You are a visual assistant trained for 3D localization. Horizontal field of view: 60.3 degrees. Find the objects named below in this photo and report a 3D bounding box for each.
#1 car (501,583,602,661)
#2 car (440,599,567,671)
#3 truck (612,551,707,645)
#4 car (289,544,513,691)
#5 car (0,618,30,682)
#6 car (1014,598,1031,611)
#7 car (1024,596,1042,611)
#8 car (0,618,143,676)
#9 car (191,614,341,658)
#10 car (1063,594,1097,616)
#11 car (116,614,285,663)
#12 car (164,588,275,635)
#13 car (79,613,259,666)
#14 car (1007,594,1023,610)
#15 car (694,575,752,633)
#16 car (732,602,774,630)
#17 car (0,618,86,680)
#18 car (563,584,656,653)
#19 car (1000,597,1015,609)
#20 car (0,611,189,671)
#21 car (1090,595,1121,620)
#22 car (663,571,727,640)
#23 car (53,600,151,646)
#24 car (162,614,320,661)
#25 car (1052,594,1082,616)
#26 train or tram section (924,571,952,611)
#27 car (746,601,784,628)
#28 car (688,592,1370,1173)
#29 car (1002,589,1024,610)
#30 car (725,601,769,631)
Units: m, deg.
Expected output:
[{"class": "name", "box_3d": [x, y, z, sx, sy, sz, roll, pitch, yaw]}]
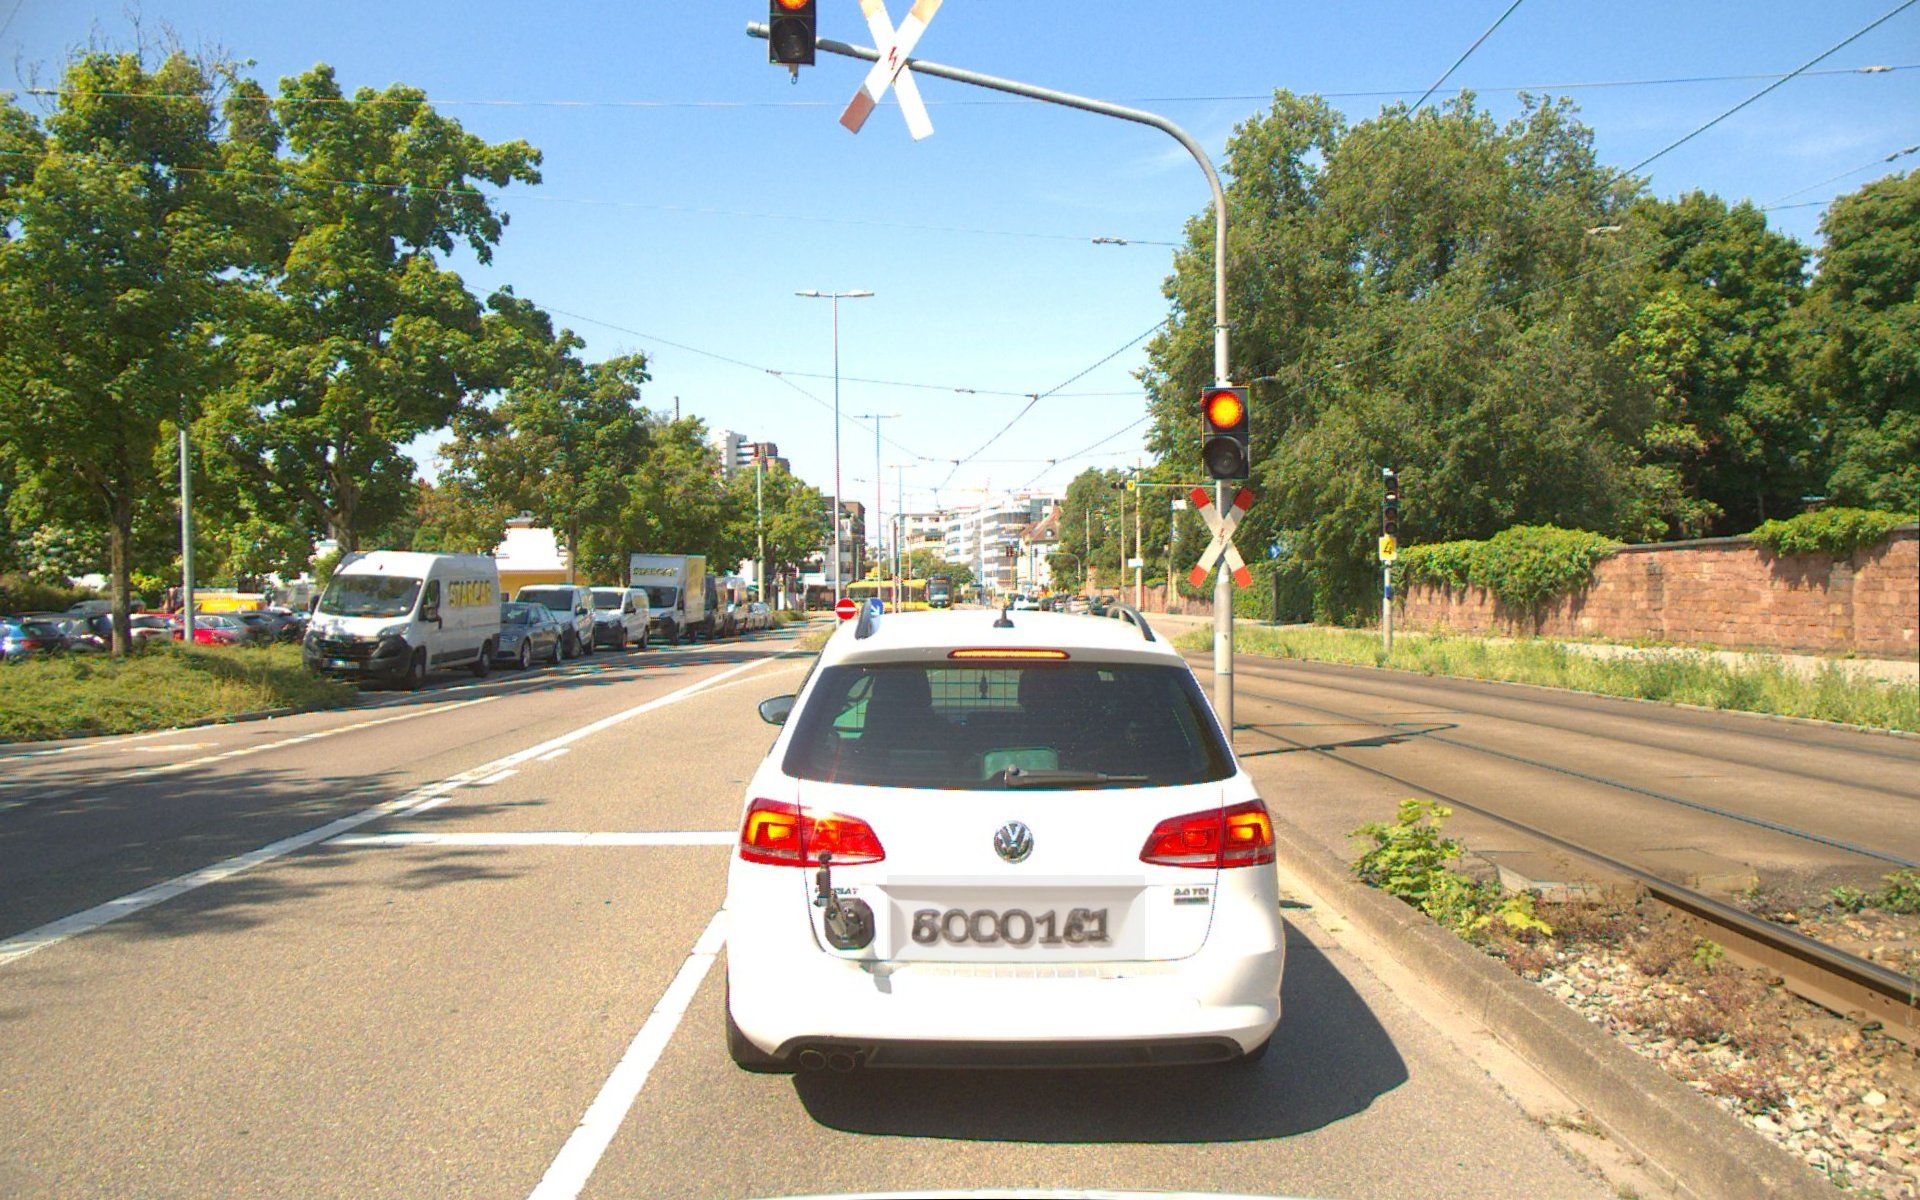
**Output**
[{"class": "car", "box_3d": [-11.062, 0.548, 45.115, 1.807, 1.971, 5.189, -1, 0, -5]}, {"class": "car", "box_3d": [-10.556, 0.772, 38.550, 1.806, 1.543, 4.196, -1, 0, -1]}, {"class": "truck", "box_3d": [-10.828, -0.101, 60.199, 2.309, 3.177, 6.889, -1, 0, -2]}, {"class": "car", "box_3d": [-10.729, 0.284, 32.378, 2.016, 2.544, 6.309, 2, 0, 2]}, {"class": "car", "box_3d": [-20.961, 1.043, 32.849, 3.907, 1.246, 1.770, -1, 0, -3]}, {"class": "car", "box_3d": [6.769, 0.496, 179.531, 1.549, 1.370, 3.453, 1, -1, -1]}, {"class": "car", "box_3d": [7.128, 0.347, 161.209, 1.549, 1.370, 3.453, 1, -1, -1]}, {"class": "car", "box_3d": [-21.615, 1.108, 38.883, 3.904, 1.246, 1.772, -1, 0, 2]}, {"class": "car", "box_3d": [-21.571, 1.108, 51.496, 3.904, 1.246, 1.772, -1, 0, 2]}, {"class": "car", "box_3d": [7.988, 0.328, 110.513, 1.824, 1.441, 4.323, 1, 0, -2]}, {"class": "car", "box_3d": [-21.350, 1.068, 46.580, 3.904, 1.246, 1.772, -1, 0, 2]}, {"class": "car", "box_3d": [-34.221, 0.535, 76.530, 4.175, 2.049, 1.997, 1, -1, -7]}, {"class": "car", "box_3d": [-20.997, 1.032, 43.990, 3.904, 1.286, 1.772, -1, 0, 2]}, {"class": "car", "box_3d": [6.397, 0.224, 192.924, 1.657, 1.844, 3.453, 1, -1, -1]}, {"class": "car", "box_3d": [-10.780, 0.163, 75.654, 1.806, 2.538, 5.856, -1, 0, 0]}, {"class": "car", "box_3d": [-11.375, 0.861, 91.153, 1.806, 1.458, 4.037, -1, 0, -1]}, {"class": "car", "box_3d": [-21.285, 1.077, 35.662, 3.904, 1.246, 1.772, -1, 0, 2]}, {"class": "car", "box_3d": [-10.917, 0.538, 51.797, 1.806, 1.995, 5.133, -1, 0, 0]}, {"class": "car", "box_3d": [6.544, 0.379, 228.596, 1.953, 1.624, 3.999, 1, -1, 0]}, {"class": "car", "box_3d": [-21.747, 1.020, 41.562, 3.904, 1.373, 1.772, -1, 0, 2]}, {"class": "car", "box_3d": [8.551, 0.424, 97.525, 1.709, 1.412, 3.915, 1, 0, 3]}, {"class": "car", "box_3d": [-10.814, 0.204, 67.851, 1.806, 2.715, 5.003, -1, 0, 0]}, {"class": "car", "box_3d": [-36.979, 0.984, 71.360, 3.354, 1.909, 1.552, -1, 0, -3]}, {"class": "car", "box_3d": [-21.339, 1.097, 49.176, 3.904, 1.246, 1.772, -1, 0, 2]}, {"class": "car", "box_3d": [8.064, 0.363, 124.948, 1.824, 1.539, 3.911, 1, 0, -2]}, {"class": "train or tram section", "box_3d": [-1.919, -0.724, 145.731, 2.254, 3.309, 11.272, 1, -1, 0]}, {"class": "car", "box_3d": [-11.340, 0.823, 96.418, 1.744, 1.458, 4.037, -1, 0, -1]}, {"class": "car", "box_3d": [0.128, 0.722, 6.211, 1.732, 1.471, 3.912, 1, 0, -2]}, {"class": "car", "box_3d": [6.799, -0.076, 212.317, 2.413, 2.542, 5.908, 1, -1, -1]}, {"class": "car", "box_3d": [-10.950, 0.805, 85.283, 1.806, 1.458, 4.037, -1, 0, -1]}]
